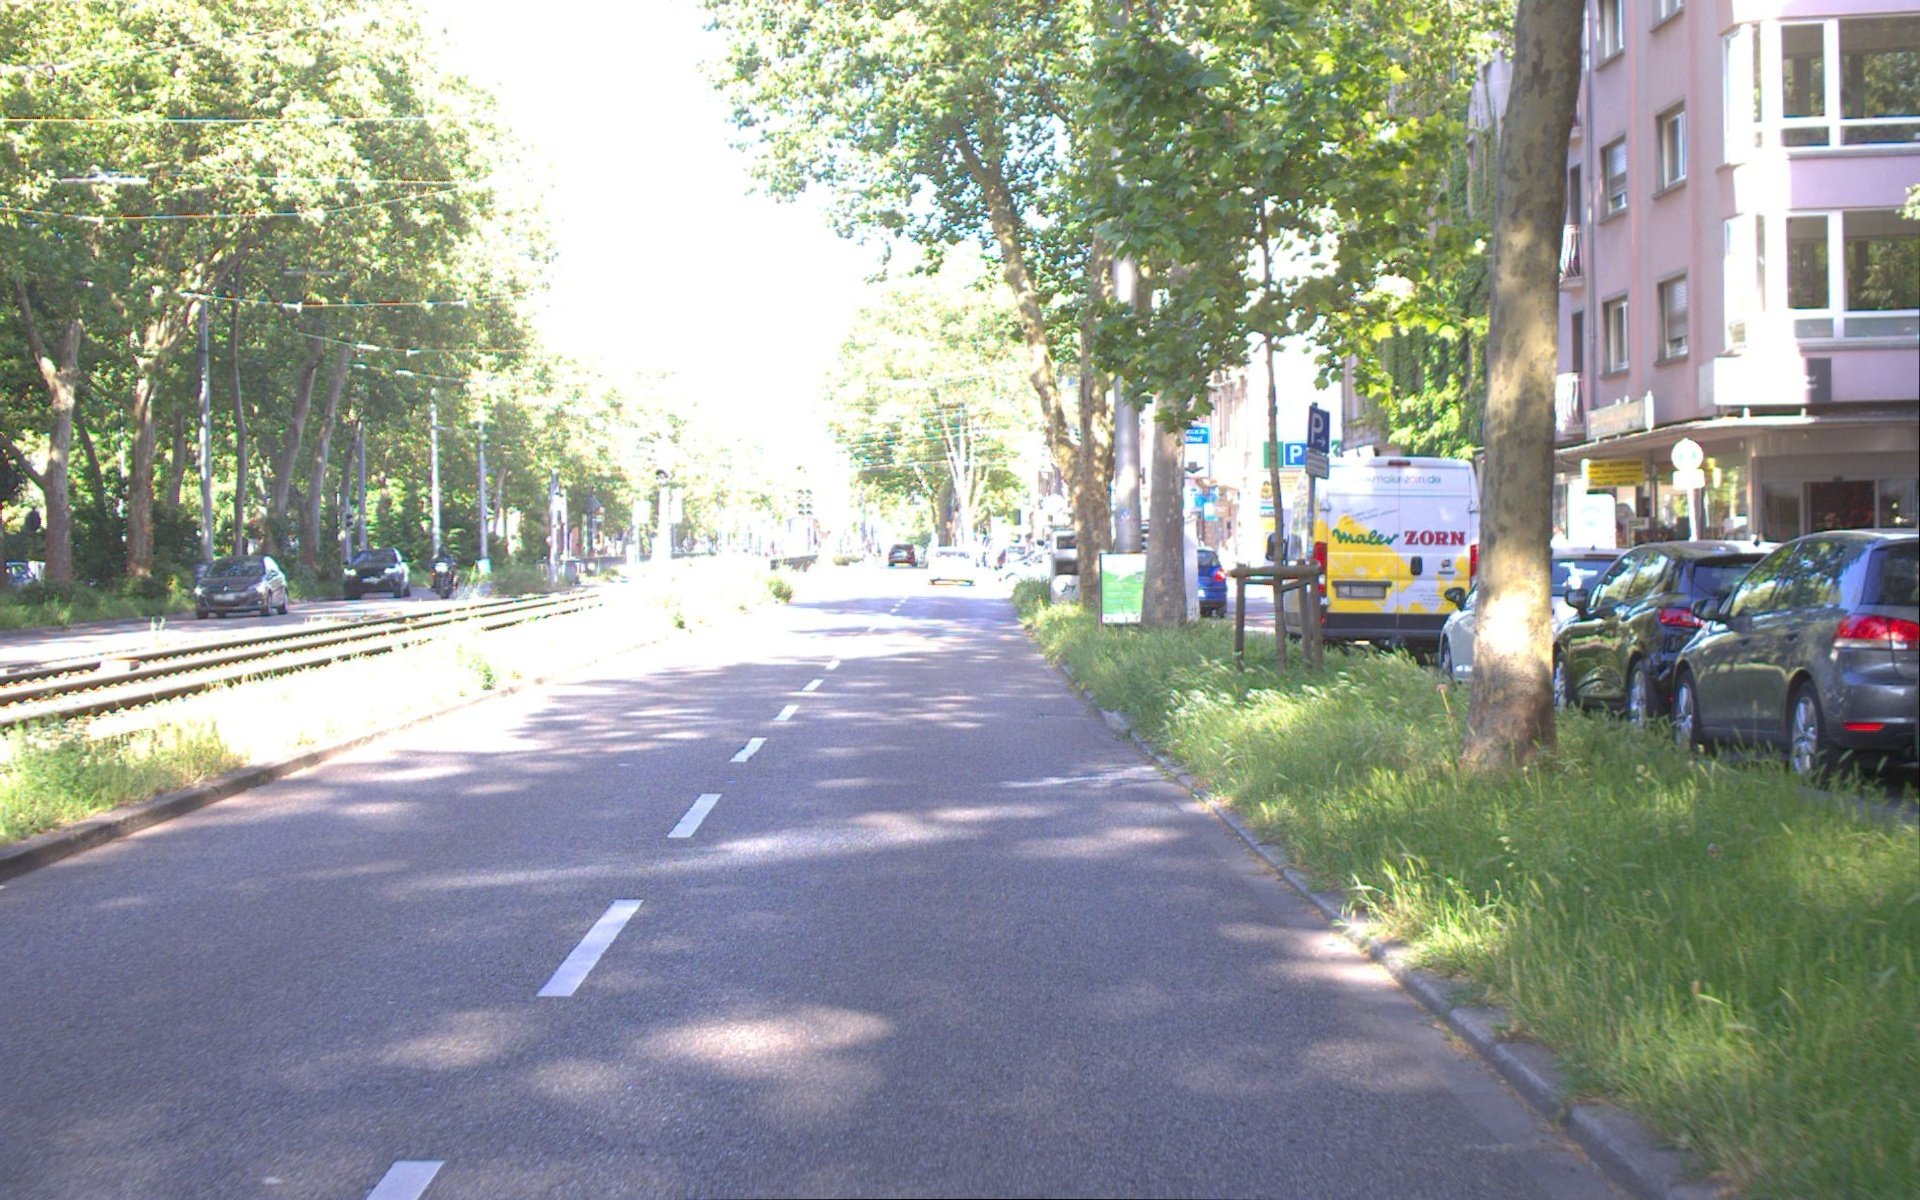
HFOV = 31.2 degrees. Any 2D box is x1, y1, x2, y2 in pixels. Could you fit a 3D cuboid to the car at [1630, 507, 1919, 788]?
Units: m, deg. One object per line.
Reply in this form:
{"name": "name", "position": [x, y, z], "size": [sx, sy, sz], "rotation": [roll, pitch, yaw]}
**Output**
{"name": "car", "position": [5.339, 0.238, 20.284], "size": [1.737, 1.459, 4.366], "rotation": [2, 1, -2]}

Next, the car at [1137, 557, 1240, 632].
{"name": "car", "position": [4.688, -0.135, 70.859], "size": [1.683, 1.508, 3.668], "rotation": [0, 1, -3]}

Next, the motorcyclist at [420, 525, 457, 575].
{"name": "motorcyclist", "position": [-15.708, -1.513, 103.619], "size": [0.944, 1.508, 0.959], "rotation": [-1, 1, 0]}

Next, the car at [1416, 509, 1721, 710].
{"name": "car", "position": [5.213, 0.048, 29.971], "size": [1.753, 1.567, 4.185], "rotation": [2, 1, -2]}

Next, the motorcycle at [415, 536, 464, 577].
{"name": "motorcycle", "position": [-15.705, -1.328, 103.773], "size": [0.964, 1.208, 3.351], "rotation": [-1, 1, 0]}

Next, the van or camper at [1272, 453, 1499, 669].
{"name": "van or camper", "position": [5.250, -0.498, 43.258], "size": [2.184, 2.472, 6.268], "rotation": [1, 1, 2]}

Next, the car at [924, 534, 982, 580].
{"name": "car", "position": [-0.279, -1.595, 126.832], "size": [2.021, 1.656, 4.000], "rotation": [0, 1, -1]}

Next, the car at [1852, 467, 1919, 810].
{"name": "car", "position": [5.604, 0.233, 15.097], "size": [1.890, 1.641, 4.801], "rotation": [2, 1, -2]}

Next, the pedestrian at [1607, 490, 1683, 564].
{"name": "pedestrian", "position": [11.702, -1.243, 58.726], "size": [1.143, 1.251, 0.749], "rotation": [-1, 1, 0]}

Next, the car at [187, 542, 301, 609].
{"name": "car", "position": [-17.521, -0.614, 84.286], "size": [1.795, 1.503, 4.339], "rotation": [-3, 1, 0]}

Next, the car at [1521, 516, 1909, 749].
{"name": "car", "position": [5.379, 0.185, 25.031], "size": [1.753, 1.491, 4.185], "rotation": [2, 1, -2]}

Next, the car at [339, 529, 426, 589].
{"name": "car", "position": [-19.290, -1.383, 114.924], "size": [1.993, 1.864, 4.873], "rotation": [-2, 1, 0]}
